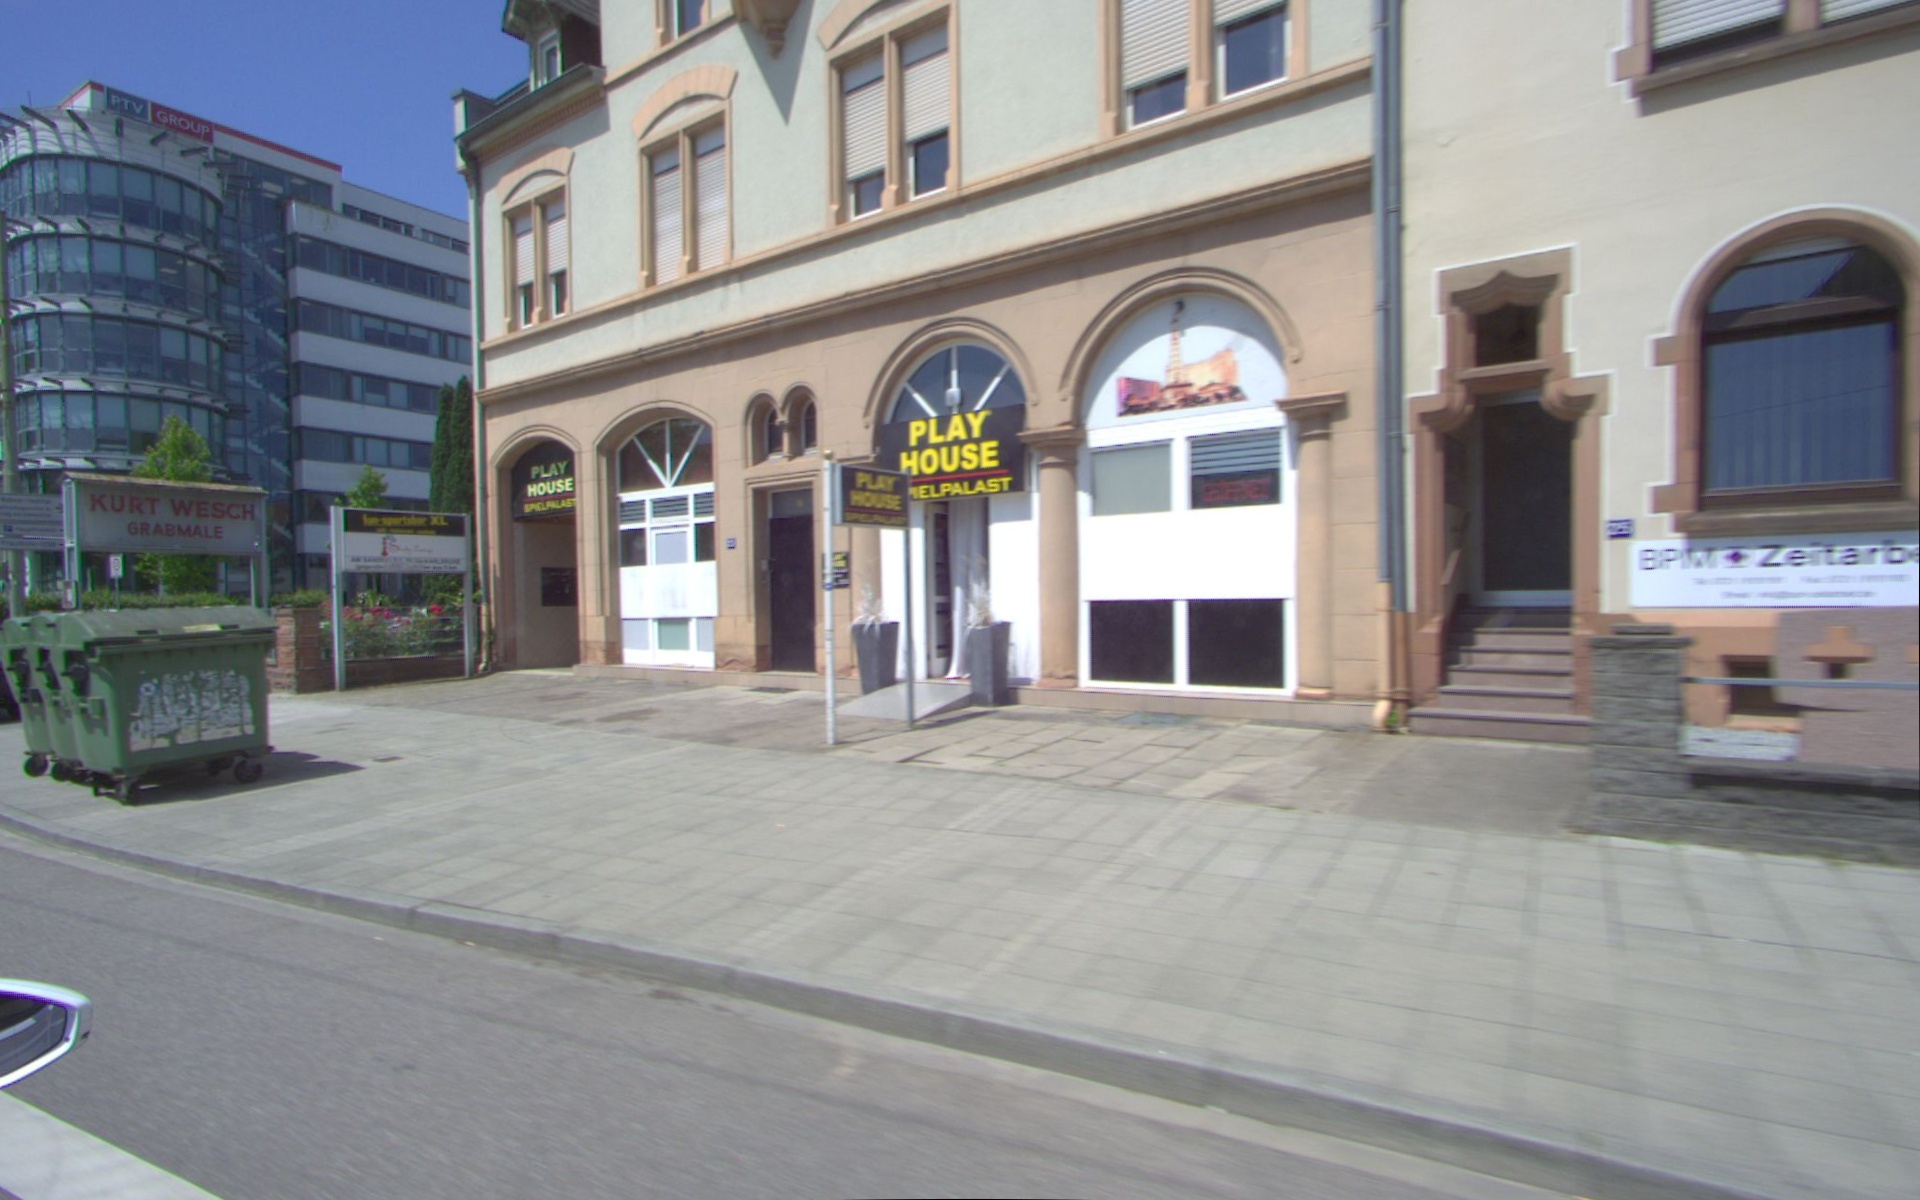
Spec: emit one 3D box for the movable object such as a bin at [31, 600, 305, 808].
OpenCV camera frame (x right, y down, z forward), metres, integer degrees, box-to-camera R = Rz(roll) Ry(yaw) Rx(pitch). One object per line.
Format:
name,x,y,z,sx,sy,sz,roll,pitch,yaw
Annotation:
movable object such as a bin,-6.457,0.772,8.224,1.122,1.475,1.389,0,3,30

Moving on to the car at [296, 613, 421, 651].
car,-25.043,1.306,41.810,1.742,1.428,4.140,0,0,31

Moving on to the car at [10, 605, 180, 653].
car,-29.673,0.945,34.458,1.794,1.479,4.134,0,0,36

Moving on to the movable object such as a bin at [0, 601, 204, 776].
movable object such as a bin,-8.261,0.776,9.543,1.042,1.475,1.321,0,3,30

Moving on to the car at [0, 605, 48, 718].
car,-15.548,0.928,14.970,4.406,1.569,1.767,-1,2,34

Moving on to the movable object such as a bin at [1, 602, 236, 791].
movable object such as a bin,-7.402,0.782,8.853,1.042,1.475,1.245,0,3,30
